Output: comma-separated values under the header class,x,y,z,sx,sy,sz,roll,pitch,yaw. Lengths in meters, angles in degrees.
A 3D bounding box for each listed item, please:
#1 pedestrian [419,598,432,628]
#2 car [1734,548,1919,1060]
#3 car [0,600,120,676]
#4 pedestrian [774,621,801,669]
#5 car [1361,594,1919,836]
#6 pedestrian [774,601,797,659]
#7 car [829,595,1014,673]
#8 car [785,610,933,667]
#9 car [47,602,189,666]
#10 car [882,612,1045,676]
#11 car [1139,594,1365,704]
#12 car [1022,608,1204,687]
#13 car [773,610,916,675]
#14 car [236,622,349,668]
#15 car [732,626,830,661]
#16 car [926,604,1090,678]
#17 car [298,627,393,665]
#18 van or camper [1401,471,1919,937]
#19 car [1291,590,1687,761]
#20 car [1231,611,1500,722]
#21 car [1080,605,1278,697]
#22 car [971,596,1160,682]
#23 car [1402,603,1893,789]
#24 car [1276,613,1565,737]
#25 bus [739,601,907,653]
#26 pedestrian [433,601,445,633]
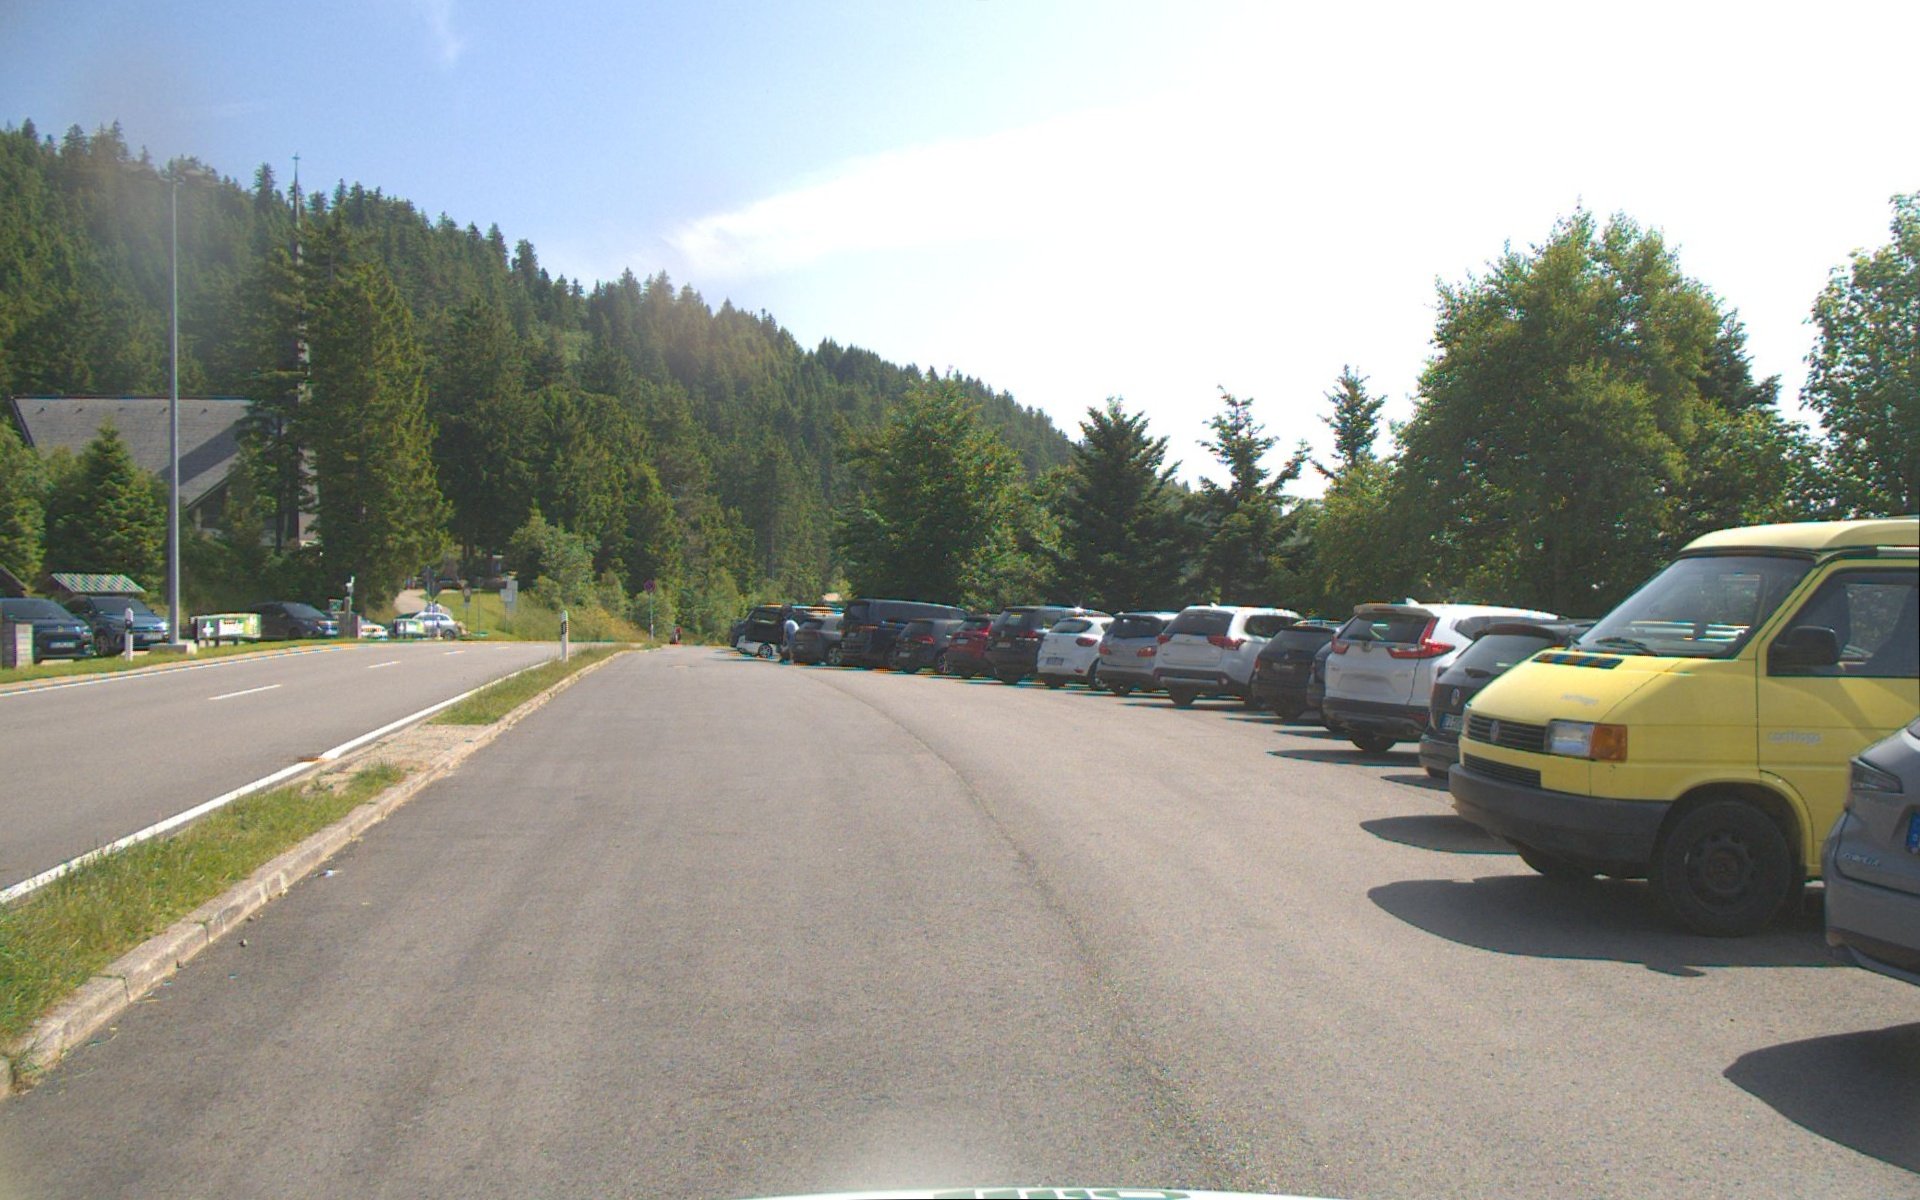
class,x,y,z,sx,sy,sz,roll,pitch,yaw
pedestrian,-30.287,0.749,93.698,0.642,1.696,0.640,0,-2,-16
car,5.011,0.703,5.792,4.085,1.617,1.697,2,0,-17
car,-20.347,0.794,36.685,3.929,1.579,1.772,0,1,42
pedestrian,-5.212,1.348,49.915,0.758,1.427,0.669,-1,1,-3
car,5.320,0.744,12.149,4.274,1.513,1.807,-1,1,-13
pedestrian,-5.486,0.939,52.050,0.567,1.791,0.633,3,-2,-2
car,-1.050,0.953,45.780,4.704,1.913,1.948,4,-2,-29
car,-2.965,1.141,48.681,3.946,1.468,1.821,4,-2,-31
car,-21.932,0.845,43.054,3.979,1.595,1.733,0,0,37
car,0.117,1.151,42.836,3.956,1.440,1.722,4,-2,-37
car,5.106,0.859,28.583,1.831,1.724,4.199,2,-1,43
car,3.285,1.028,35.021,1.737,1.502,3.974,2,-2,43
car,-3.591,1.340,51.822,3.957,1.691,1.974,7,-4,-37
car,-24.987,1.663,61.930,4.119,1.663,1.785,-1,-2,31
car,-8.688,2.114,80.150,4.398,1.321,1.569,6,-2,-26
car,1.214,1.016,40.605,1.831,1.617,3.974,2,-2,43
car,-25.371,1.889,68.216,3.888,1.466,1.738,-1,0,34
van or camper,5.117,0.566,8.699,4.994,2.048,1.879,3,0,-7
car,5.911,0.847,18.398,4.126,1.678,1.873,4,-2,-29
car,6.181,1.020,25.026,4.009,1.487,1.869,4,-2,-38
car,4.285,1.009,31.960,1.789,1.576,3.974,2,-2,43
car,2.411,0.894,37.113,1.956,1.724,4.245,2,-2,43
car,6.350,0.860,15.313,4.029,1.526,1.931,2,-1,-22
car,6.256,1.022,22.377,3.757,1.484,1.645,4,-1,-32
bus,-10.639,2.074,128.716,12.586,3.640,2.984,1,1,7
pedestrian,-29.703,0.958,94.331,0.642,1.830,0.640,0,0,-16
